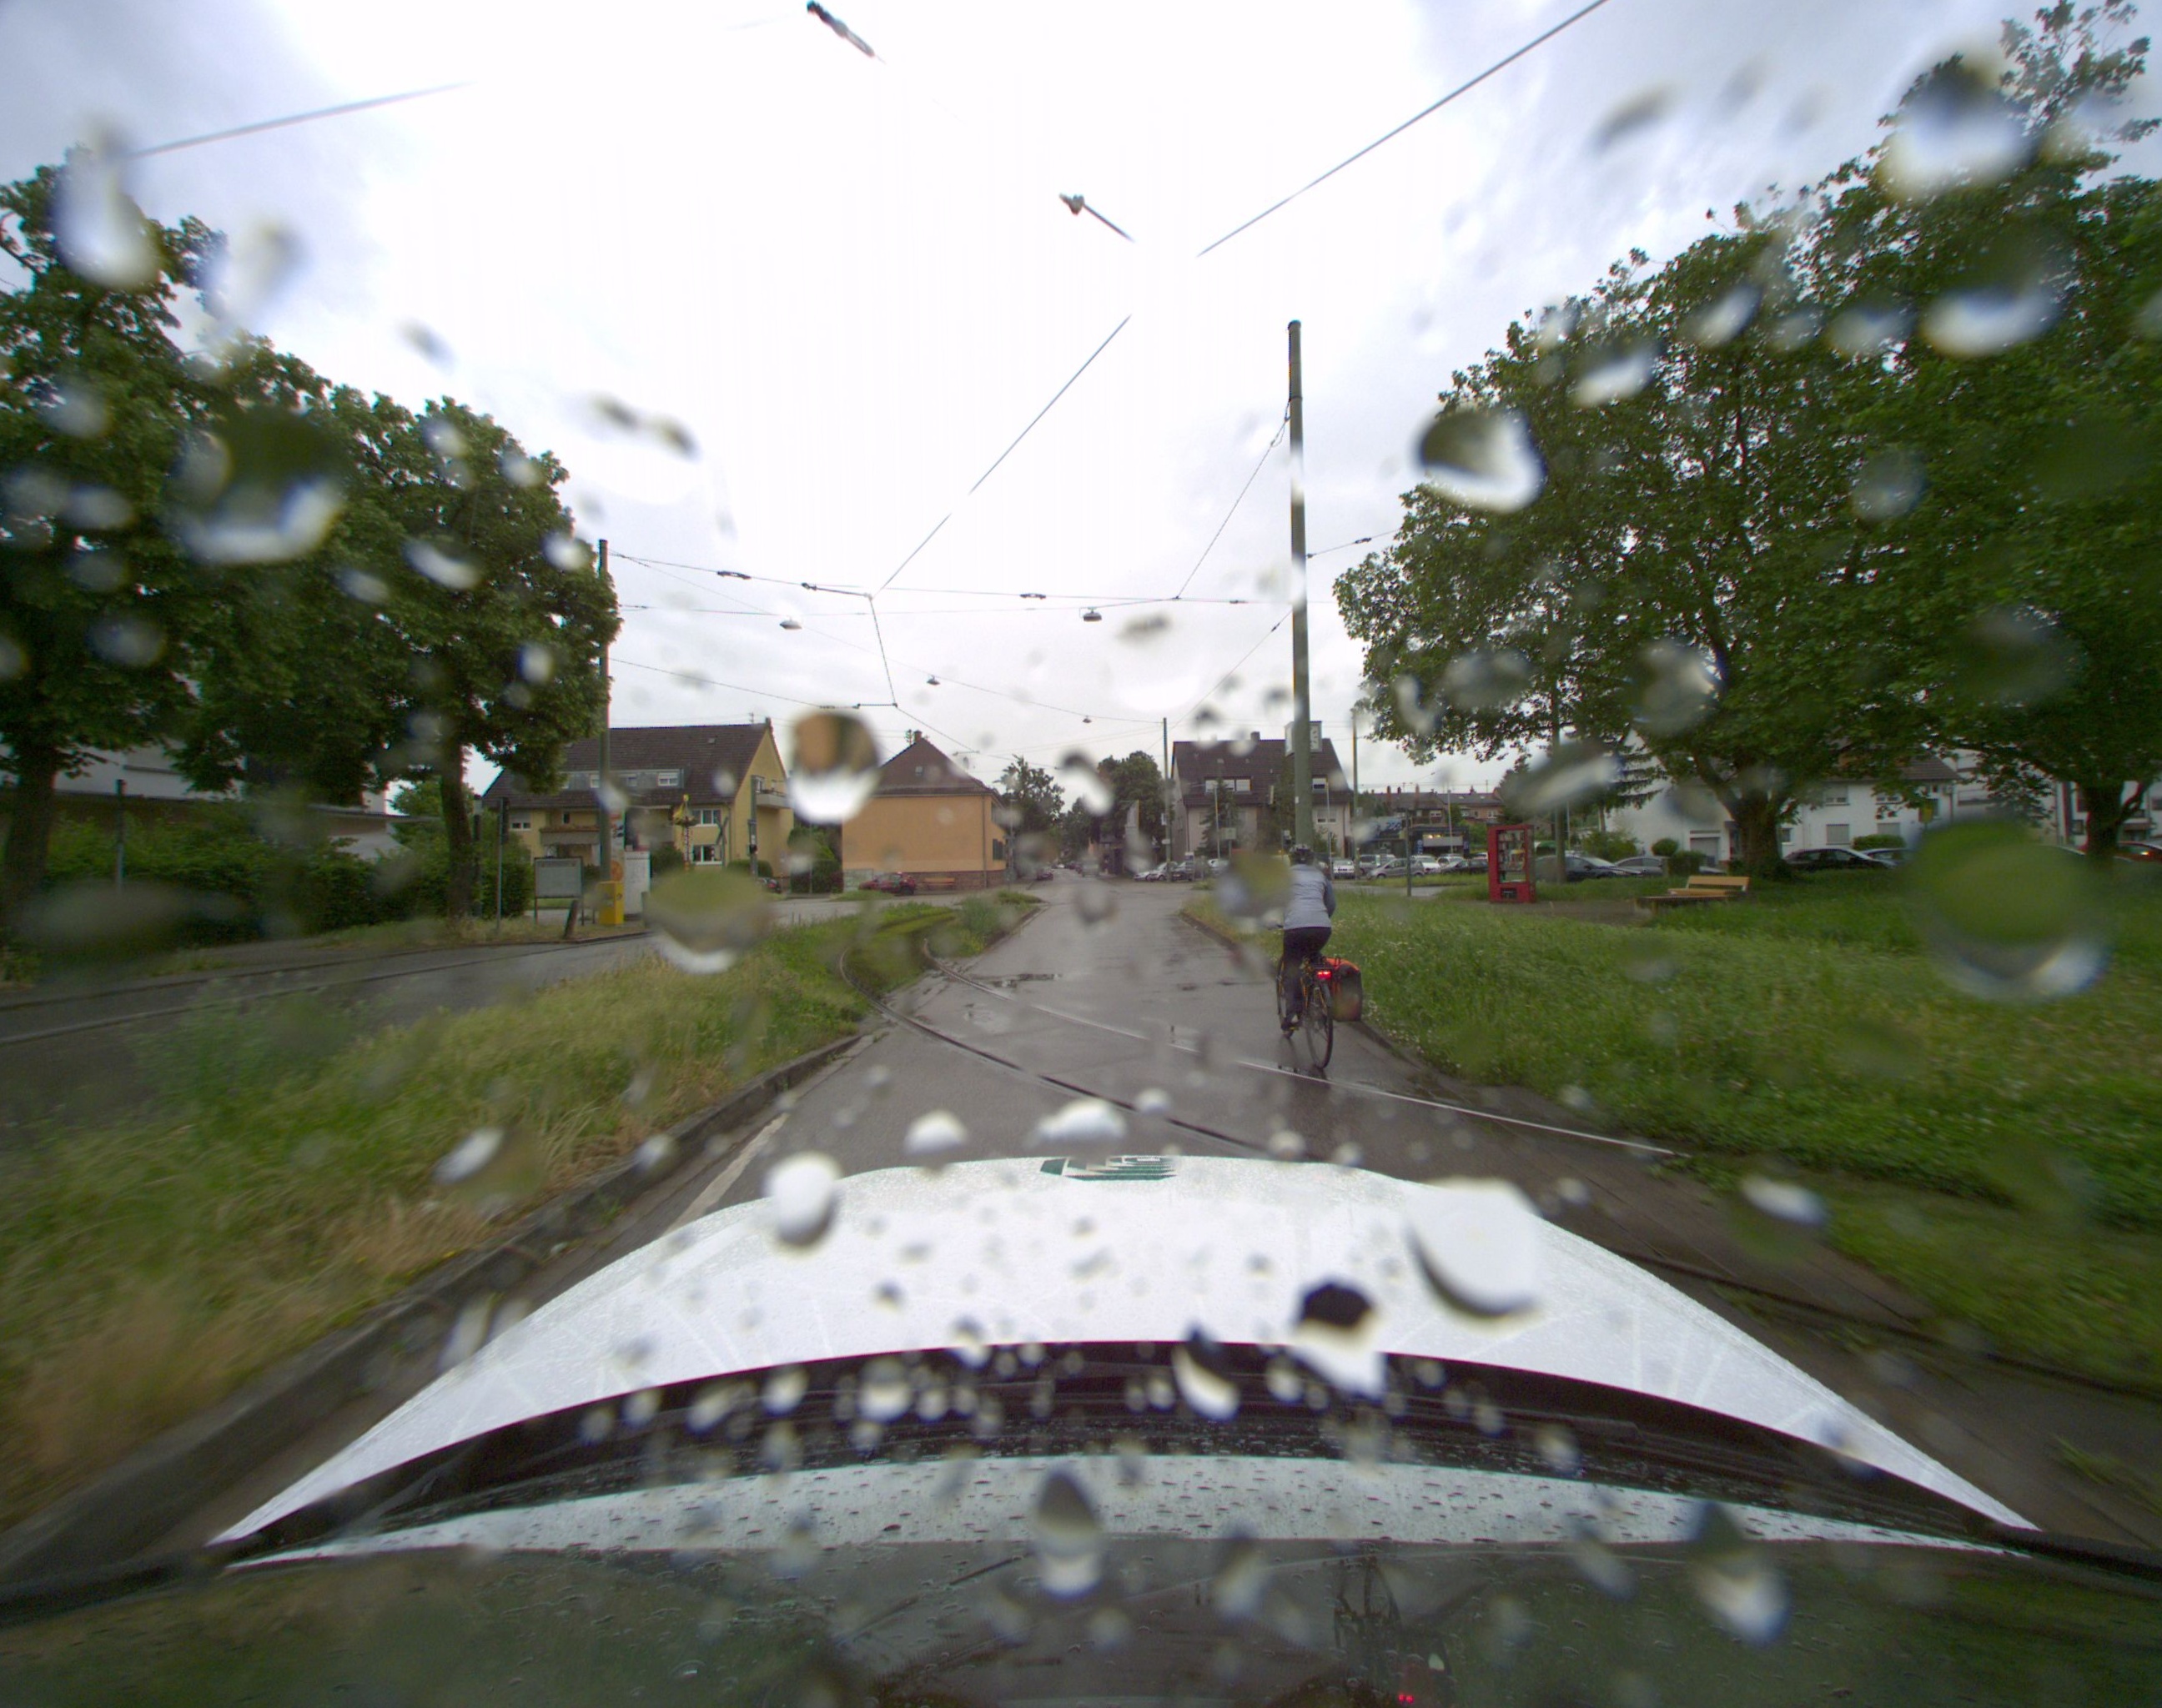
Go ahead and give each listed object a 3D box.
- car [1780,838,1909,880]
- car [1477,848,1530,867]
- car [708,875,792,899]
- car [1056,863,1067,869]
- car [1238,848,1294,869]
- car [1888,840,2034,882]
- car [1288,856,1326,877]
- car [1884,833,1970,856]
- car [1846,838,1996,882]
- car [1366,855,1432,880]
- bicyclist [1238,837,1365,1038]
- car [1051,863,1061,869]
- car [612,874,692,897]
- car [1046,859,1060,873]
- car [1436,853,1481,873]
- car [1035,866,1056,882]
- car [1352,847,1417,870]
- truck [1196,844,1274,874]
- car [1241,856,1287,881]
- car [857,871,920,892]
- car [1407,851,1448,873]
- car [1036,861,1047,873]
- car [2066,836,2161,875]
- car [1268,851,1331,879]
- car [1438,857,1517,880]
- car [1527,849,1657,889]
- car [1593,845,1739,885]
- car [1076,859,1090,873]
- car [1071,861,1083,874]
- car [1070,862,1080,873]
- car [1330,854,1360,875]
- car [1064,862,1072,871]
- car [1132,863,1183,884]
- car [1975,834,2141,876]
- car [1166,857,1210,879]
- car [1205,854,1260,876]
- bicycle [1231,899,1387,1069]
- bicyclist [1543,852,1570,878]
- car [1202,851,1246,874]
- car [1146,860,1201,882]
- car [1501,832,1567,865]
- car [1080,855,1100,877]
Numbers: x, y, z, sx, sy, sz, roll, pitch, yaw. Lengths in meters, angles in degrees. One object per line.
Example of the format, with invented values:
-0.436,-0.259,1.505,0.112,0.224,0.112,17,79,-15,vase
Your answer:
30.743,0.266,32.876,1.762,1.506,3.478,1,-4,-35,car
38.286,0.316,73.788,4.450,1.580,1.780,-1,-2,-22,car
-20.880,2.080,51.523,4.479,1.396,1.965,-1,-1,-3,car
-5.192,3.237,217.770,1.832,1.697,4.009,1,-1,-17,car
16.184,0.388,71.442,4.415,1.687,2.001,-2,-2,2,car
36.311,0.340,33.682,1.970,1.553,3.953,2,-3,-39,car
16.579,0.919,59.587,1.810,1.504,4.082,0,-1,28,car
54.682,-0.609,52.657,3.918,1.424,1.606,1,-1,0,car
34.021,0.307,33.081,1.832,1.501,3.955,1,-5,-37,car
20.669,0.876,52.976,3.620,1.504,1.722,1,-1,0,car
1.743,0.634,6.571,0.748,1.485,0.847,-3,-1,2,bicyclist
-6.966,3.255,223.179,1.832,1.697,4.009,1,-1,-17,car
-26.715,1.968,50.773,3.978,1.332,1.758,1,-1,-4,car
-4.074,1.706,119.217,1.987,2.014,3.999,1,-1,0,car
27.542,0.628,59.479,1.710,1.396,3.845,1,-1,3,car
-3.663,2.046,84.405,1.989,1.618,3.996,-1,-1,-2,car
23.794,0.356,64.003,4.415,1.687,1.761,-2,-2,2,car
12.891,0.418,68.169,6.032,2.272,2.010,-2,-2,19,truck
13.414,1.047,59.511,1.974,1.717,4.025,-3,-1,32,car
-12.317,1.758,52.285,3.597,1.339,1.721,1,-1,-3,car
25.421,0.602,59.814,1.710,1.573,3.620,1,-1,4,car
-6.608,2.159,135.526,1.824,2.014,3.996,1,-1,-2,car
43.341,0.044,33.286,1.641,1.480,3.567,-1,-3,-26,car
17.232,0.875,64.303,4.415,2.014,2.001,-2,-2,2,car
25.905,0.926,53.313,4.364,1.339,1.721,2,-1,-3,car
20.848,0.617,33.376,1.810,1.476,4.137,-1,-1,-30,car
23.788,0.459,33.336,1.808,1.476,4.510,-1,-1,-26,car
0.280,1.727,116.006,1.987,2.014,3.999,1,-1,0,car
-0.679,2.232,135.819,1.824,2.014,3.996,1,-1,-2,car
-1.151,2.467,153.972,1.824,2.014,3.996,1,-1,-2,car
19.285,0.761,59.591,1.814,1.504,4.074,0,-1,15,car
-3.279,3.025,199.503,1.824,2.014,3.996,1,-1,-2,car
6.437,1.626,68.410,3.872,1.579,1.795,-2,-1,-20,car
39.957,0.084,33.399,1.873,1.480,4.081,-1,-3,-32,car
8.162,1.039,61.679,1.784,1.579,3.896,-3,-1,32,car
12.139,0.889,65.184,3.933,1.598,2.010,-2,-2,19,car
1.767,0.962,6.644,0.750,1.073,1.928,-3,-1,2,bicycle
30.035,0.693,51.457,1.036,1.598,0.949,-2,-1,-2,bicyclist
10.539,0.601,60.017,1.784,1.579,3.896,-3,-1,32,car
7.388,1.326,65.096,3.872,1.579,1.795,-2,-1,-20,car
34.080,-0.363,61.406,2.138,2.406,5.147,1,-1,0,car
1.088,1.407,97.083,2.148,2.573,4.129,1,-1,-3,car
